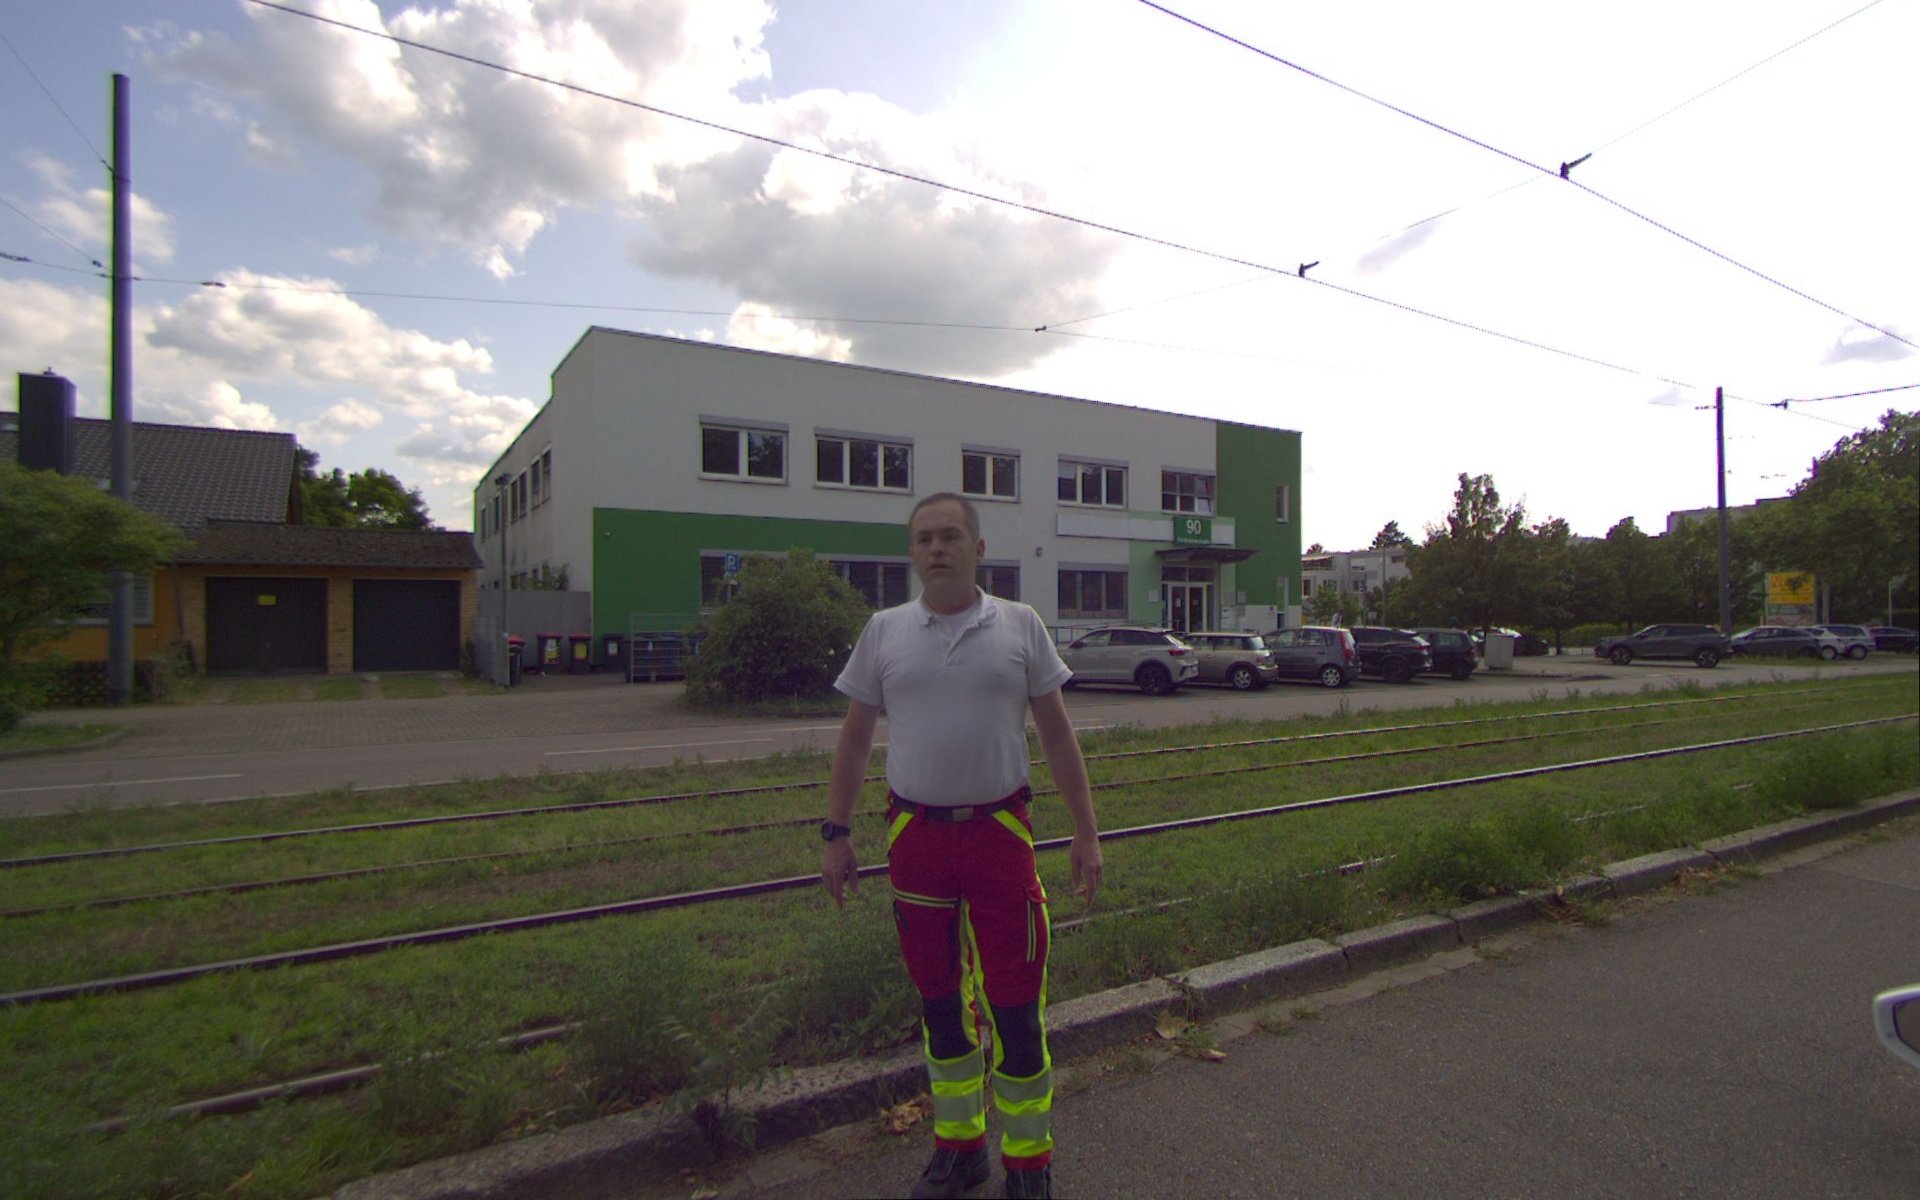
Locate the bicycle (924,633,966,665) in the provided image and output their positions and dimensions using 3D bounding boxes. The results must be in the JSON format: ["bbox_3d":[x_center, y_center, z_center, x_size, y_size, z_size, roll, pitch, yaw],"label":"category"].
[{"bbox_3d":[-0.473,1.530,31.680,0.453,0.911,1.848,2,0,-30],"label":"bicycle"}]

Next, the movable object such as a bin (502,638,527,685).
[{"bbox_3d":[-10.464,1.444,23.598,0.474,1.056,0.491,0,1,-31],"label":"movable object such as a bin"}]

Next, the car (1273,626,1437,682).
[{"bbox_3d":[11.316,1.519,28.847,4.160,1.501,1.880,-1,-2,30],"label":"car"}]

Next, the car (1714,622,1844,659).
[{"bbox_3d":[36.698,1.788,45.158,4.154,1.501,1.882,1,-1,23],"label":"car"}]

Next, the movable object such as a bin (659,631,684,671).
[{"bbox_3d":[-7.933,1.400,27.622,0.558,1.056,0.565,0,1,-31],"label":"movable object such as a bin"}]

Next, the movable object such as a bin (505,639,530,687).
[{"bbox_3d":[-10.185,1.450,23.116,0.476,1.056,0.502,0,1,-31],"label":"movable object such as a bin"}]

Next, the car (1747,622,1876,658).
[{"bbox_3d":[39.369,1.825,46.556,4.154,1.501,1.882,1,-1,23],"label":"car"}]

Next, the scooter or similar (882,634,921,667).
[{"bbox_3d":[-1.820,1.544,30.992,0.453,0.911,1.726,2,0,-30],"label":"scooter or similar"}]

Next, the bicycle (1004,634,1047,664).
[{"bbox_3d":[2.146,1.605,33.274,0.453,0.911,1.848,2,0,-30],"label":"bicycle"}]

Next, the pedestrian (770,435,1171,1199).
[{"bbox_3d":[0.004,0.537,2.429,0.790,1.709,0.851,1,0,-3],"label":"pedestrian"}]

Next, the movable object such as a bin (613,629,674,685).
[{"bbox_3d":[-7.603,1.353,24.112,1.241,1.251,1.001,0,1,-29],"label":"movable object such as a bin"}]

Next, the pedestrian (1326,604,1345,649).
[{"bbox_3d":[15.767,1.110,42.132,0.503,1.852,0.543,1,-1,-33],"label":"pedestrian"}]

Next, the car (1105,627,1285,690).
[{"bbox_3d":[6.030,1.469,25.890,4.160,1.501,1.880,-1,-2,30],"label":"car"}]

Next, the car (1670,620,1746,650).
[{"bbox_3d":[48.517,2.230,65.268,1.960,1.773,4.000,1,0,0],"label":"car"}]

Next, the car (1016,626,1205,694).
[{"bbox_3d":[3.628,1.404,24.240,4.155,1.501,1.882,-1,-2,25],"label":"car"}]

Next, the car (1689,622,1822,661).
[{"bbox_3d":[34.342,1.766,43.494,4.154,1.501,1.882,1,-1,23],"label":"car"}]

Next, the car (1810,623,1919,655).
[{"bbox_3d":[46.162,1.975,51.001,4.151,1.501,1.883,1,-1,19],"label":"car"}]

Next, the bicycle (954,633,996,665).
[{"bbox_3d":[0.474,1.560,32.300,0.453,0.911,1.848,2,0,-30],"label":"bicycle"}]

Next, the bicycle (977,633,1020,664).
[{"bbox_3d":[1.235,1.584,32.763,0.453,0.911,1.848,2,0,-30],"label":"bicycle"}]

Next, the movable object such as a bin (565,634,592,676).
[{"bbox_3d":[-10.010,1.432,26.362,0.558,1.056,0.565,0,1,-31],"label":"movable object such as a bin"}]

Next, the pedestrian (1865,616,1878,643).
[{"bbox_3d":[57.743,1.844,63.654,0.597,1.699,0.463,1,-1,-33],"label":"pedestrian"}]

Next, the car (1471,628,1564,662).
[{"bbox_3d":[29.178,2.346,52.698,1.755,1.586,3.970,2,0,-28],"label":"car"}]

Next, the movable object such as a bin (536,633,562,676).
[{"bbox_3d":[-10.619,1.403,25.961,0.558,1.056,0.565,0,1,-31],"label":"movable object such as a bin"}]

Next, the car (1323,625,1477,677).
[{"bbox_3d":[13.519,1.532,30.891,4.160,1.501,1.880,-1,-2,30],"label":"car"}]

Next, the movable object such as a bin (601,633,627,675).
[{"bbox_3d":[-9.255,1.439,26.858,0.558,1.056,0.565,0,1,-31],"label":"movable object such as a bin"}]

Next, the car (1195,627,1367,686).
[{"bbox_3d":[8.697,1.498,27.300,4.160,1.501,1.880,-1,-2,30],"label":"car"}]

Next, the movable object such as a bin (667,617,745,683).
[{"bbox_3d":[-6.288,1.208,24.872,1.691,1.540,1.001,0,1,-29],"label":"movable object such as a bin"}]

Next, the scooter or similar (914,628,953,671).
[{"bbox_3d":[-0.792,1.448,29.615,1.073,1.171,1.306,2,0,-2],"label":"scooter or similar"}]

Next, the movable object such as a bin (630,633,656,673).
[{"bbox_3d":[-8.595,1.431,27.231,0.558,1.056,0.565,0,1,-31],"label":"movable object such as a bin"}]

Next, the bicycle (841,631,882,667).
[{"bbox_3d":[-2.955,1.450,30.015,0.453,0.999,1.848,2,0,-30],"label":"bicycle"}]

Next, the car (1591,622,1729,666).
[{"bbox_3d":[26.163,1.604,37.688,4.164,1.501,1.878,0,-1,34],"label":"car"}]
